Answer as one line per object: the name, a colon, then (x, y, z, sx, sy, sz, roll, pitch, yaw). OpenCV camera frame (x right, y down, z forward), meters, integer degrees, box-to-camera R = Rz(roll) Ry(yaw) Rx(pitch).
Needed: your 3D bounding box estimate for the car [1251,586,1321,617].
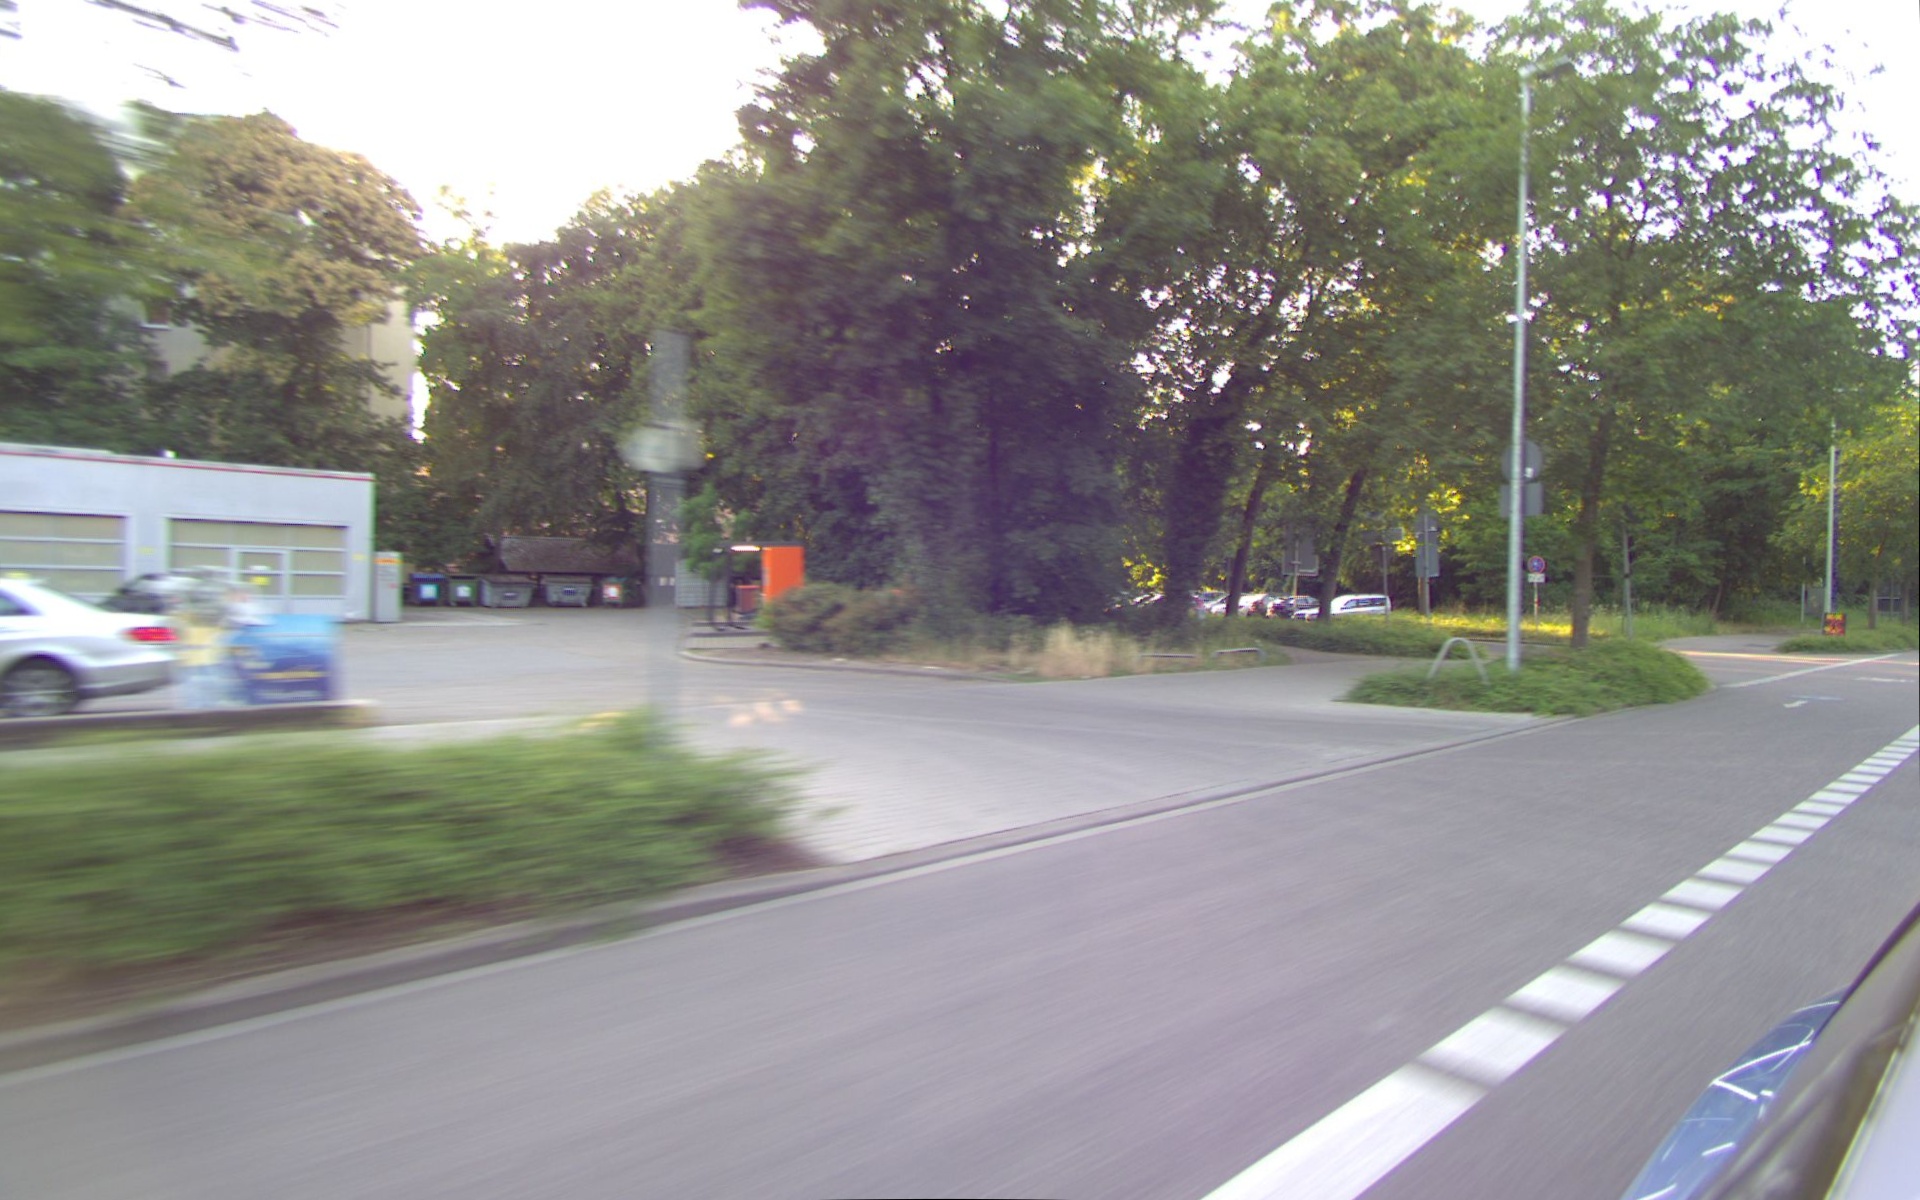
car: (19.036, 0.107, 59.168, 3.567, 1.728, 1.544, 1, 1, -11)

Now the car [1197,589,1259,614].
car: (17.695, 0.077, 66.895, 3.567, 1.563, 1.544, 1, 1, -11)

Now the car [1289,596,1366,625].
car: (19.850, 0.566, 54.666, 3.567, 1.500, 1.544, 1, 1, -11)

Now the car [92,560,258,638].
car: (-18.029, -0.088, 23.201, 4.099, 1.540, 1.655, 3, 3, 31)

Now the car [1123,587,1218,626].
car: (9.165, 0.274, 44.193, 3.762, 1.605, 1.544, 1, 1, -7)

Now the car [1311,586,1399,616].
car: (20.133, 0.043, 51.641, 3.916, 1.414, 1.544, 1, 1, -11)

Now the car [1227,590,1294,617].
car: (18.322, 0.212, 61.729, 3.567, 1.563, 1.544, 1, 1, -11)

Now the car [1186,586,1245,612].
car: (17.540, -0.055, 69.457, 3.567, 1.683, 1.544, 1, 1, -11)

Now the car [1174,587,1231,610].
car: (17.118, -0.088, 71.618, 3.567, 1.563, 1.544, 1, 1, -11)

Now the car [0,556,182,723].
car: (-10.578, 0.377, 9.836, 4.730, 1.604, 1.774, 0, 0, -37)

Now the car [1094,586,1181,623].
car: (8.514, 0.196, 48.682, 3.762, 1.667, 1.544, 1, 1, -7)

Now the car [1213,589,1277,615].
car: (17.999, 0.094, 63.964, 3.567, 1.563, 1.544, 1, 1, -11)

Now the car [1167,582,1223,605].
car: (17.160, -0.471, 73.955, 3.567, 1.563, 1.544, 1, 1, -11)

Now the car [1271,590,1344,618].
car: (19.456, 0.218, 56.737, 3.567, 1.500, 1.544, 1, 1, -11)
